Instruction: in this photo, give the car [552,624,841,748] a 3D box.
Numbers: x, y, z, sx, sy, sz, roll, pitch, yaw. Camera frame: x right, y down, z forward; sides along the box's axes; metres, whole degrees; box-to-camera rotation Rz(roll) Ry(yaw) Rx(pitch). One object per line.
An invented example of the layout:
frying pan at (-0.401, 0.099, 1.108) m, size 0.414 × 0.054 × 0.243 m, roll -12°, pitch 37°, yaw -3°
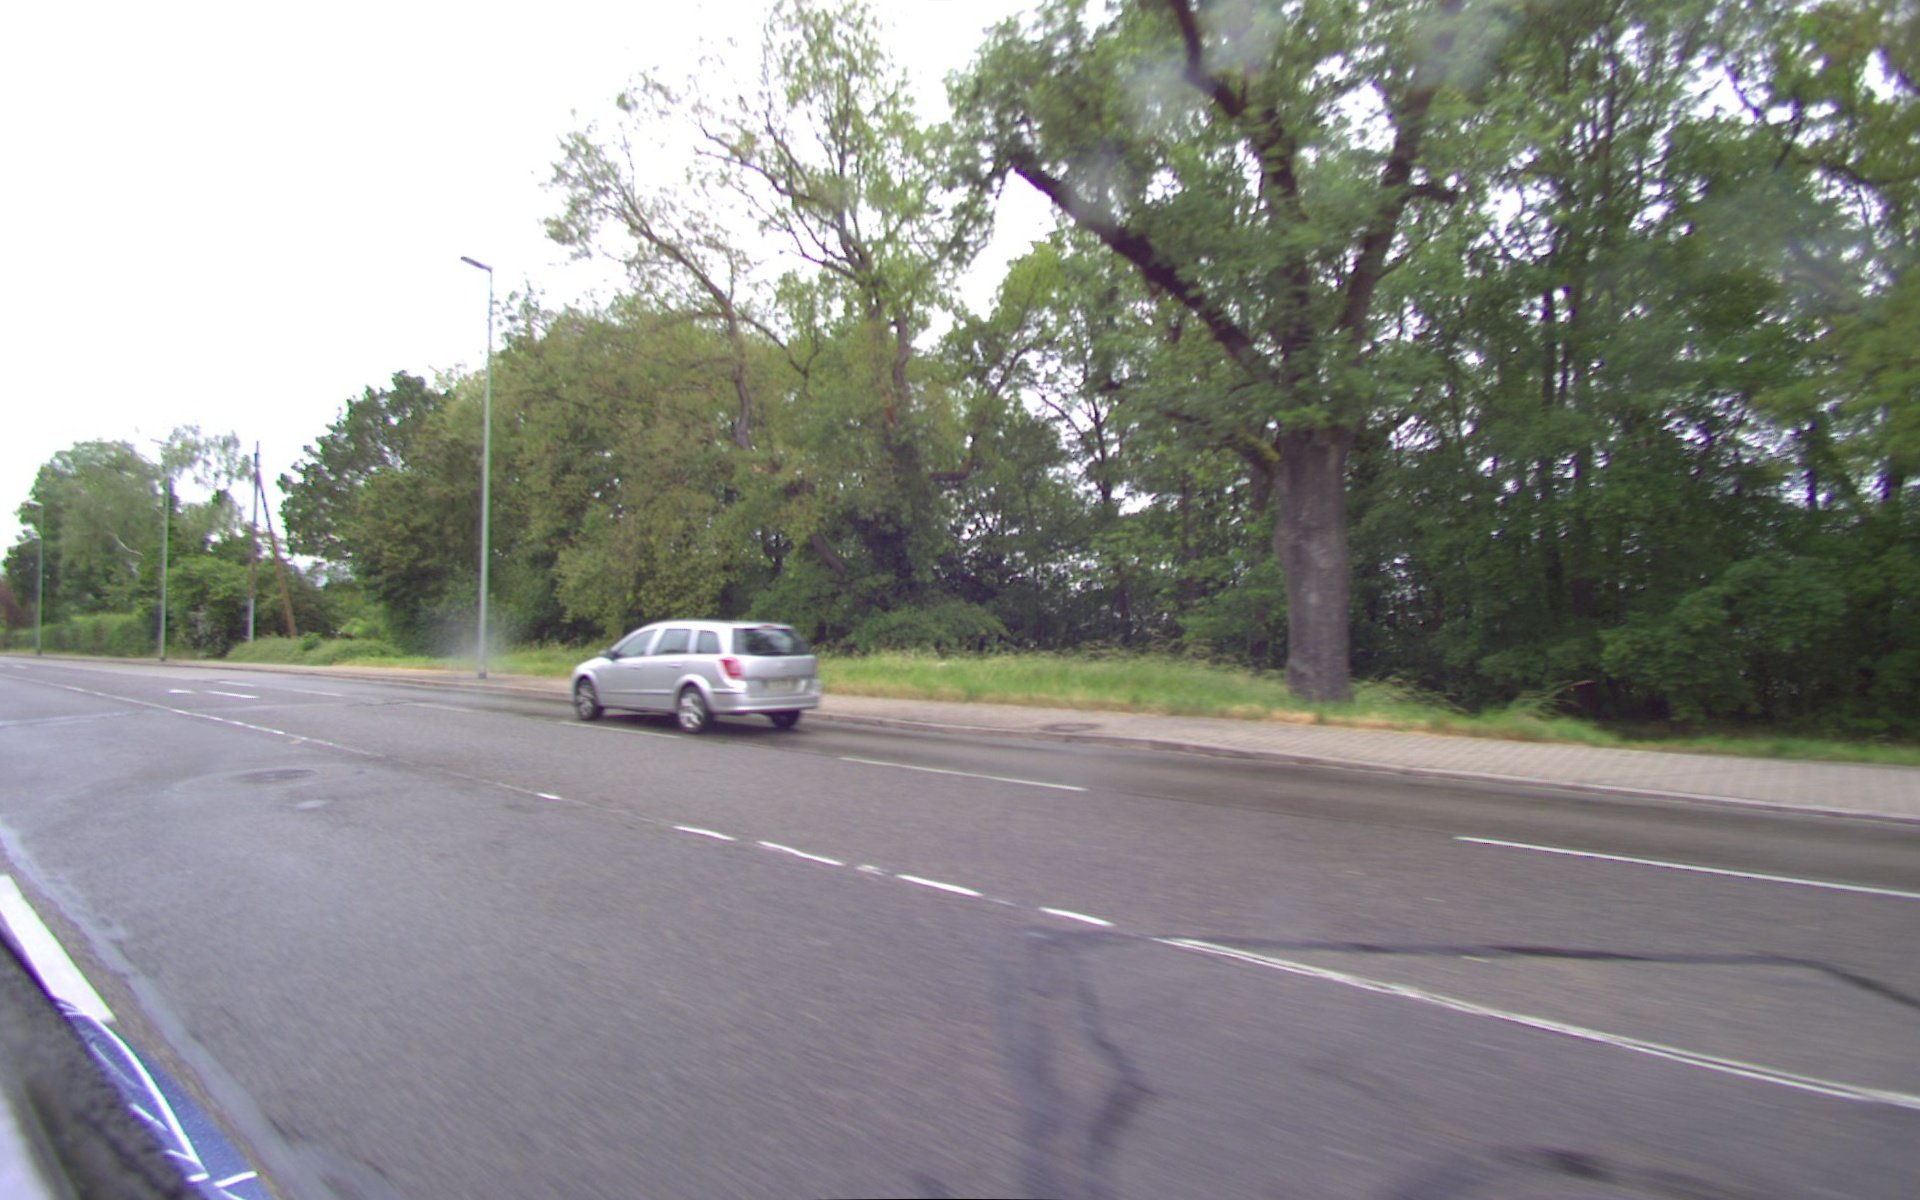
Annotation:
car at (-3.836, 1.127, 14.308) m, size 4.448 × 1.494 × 1.672 m, roll -2°, pitch -4°, yaw 40°
